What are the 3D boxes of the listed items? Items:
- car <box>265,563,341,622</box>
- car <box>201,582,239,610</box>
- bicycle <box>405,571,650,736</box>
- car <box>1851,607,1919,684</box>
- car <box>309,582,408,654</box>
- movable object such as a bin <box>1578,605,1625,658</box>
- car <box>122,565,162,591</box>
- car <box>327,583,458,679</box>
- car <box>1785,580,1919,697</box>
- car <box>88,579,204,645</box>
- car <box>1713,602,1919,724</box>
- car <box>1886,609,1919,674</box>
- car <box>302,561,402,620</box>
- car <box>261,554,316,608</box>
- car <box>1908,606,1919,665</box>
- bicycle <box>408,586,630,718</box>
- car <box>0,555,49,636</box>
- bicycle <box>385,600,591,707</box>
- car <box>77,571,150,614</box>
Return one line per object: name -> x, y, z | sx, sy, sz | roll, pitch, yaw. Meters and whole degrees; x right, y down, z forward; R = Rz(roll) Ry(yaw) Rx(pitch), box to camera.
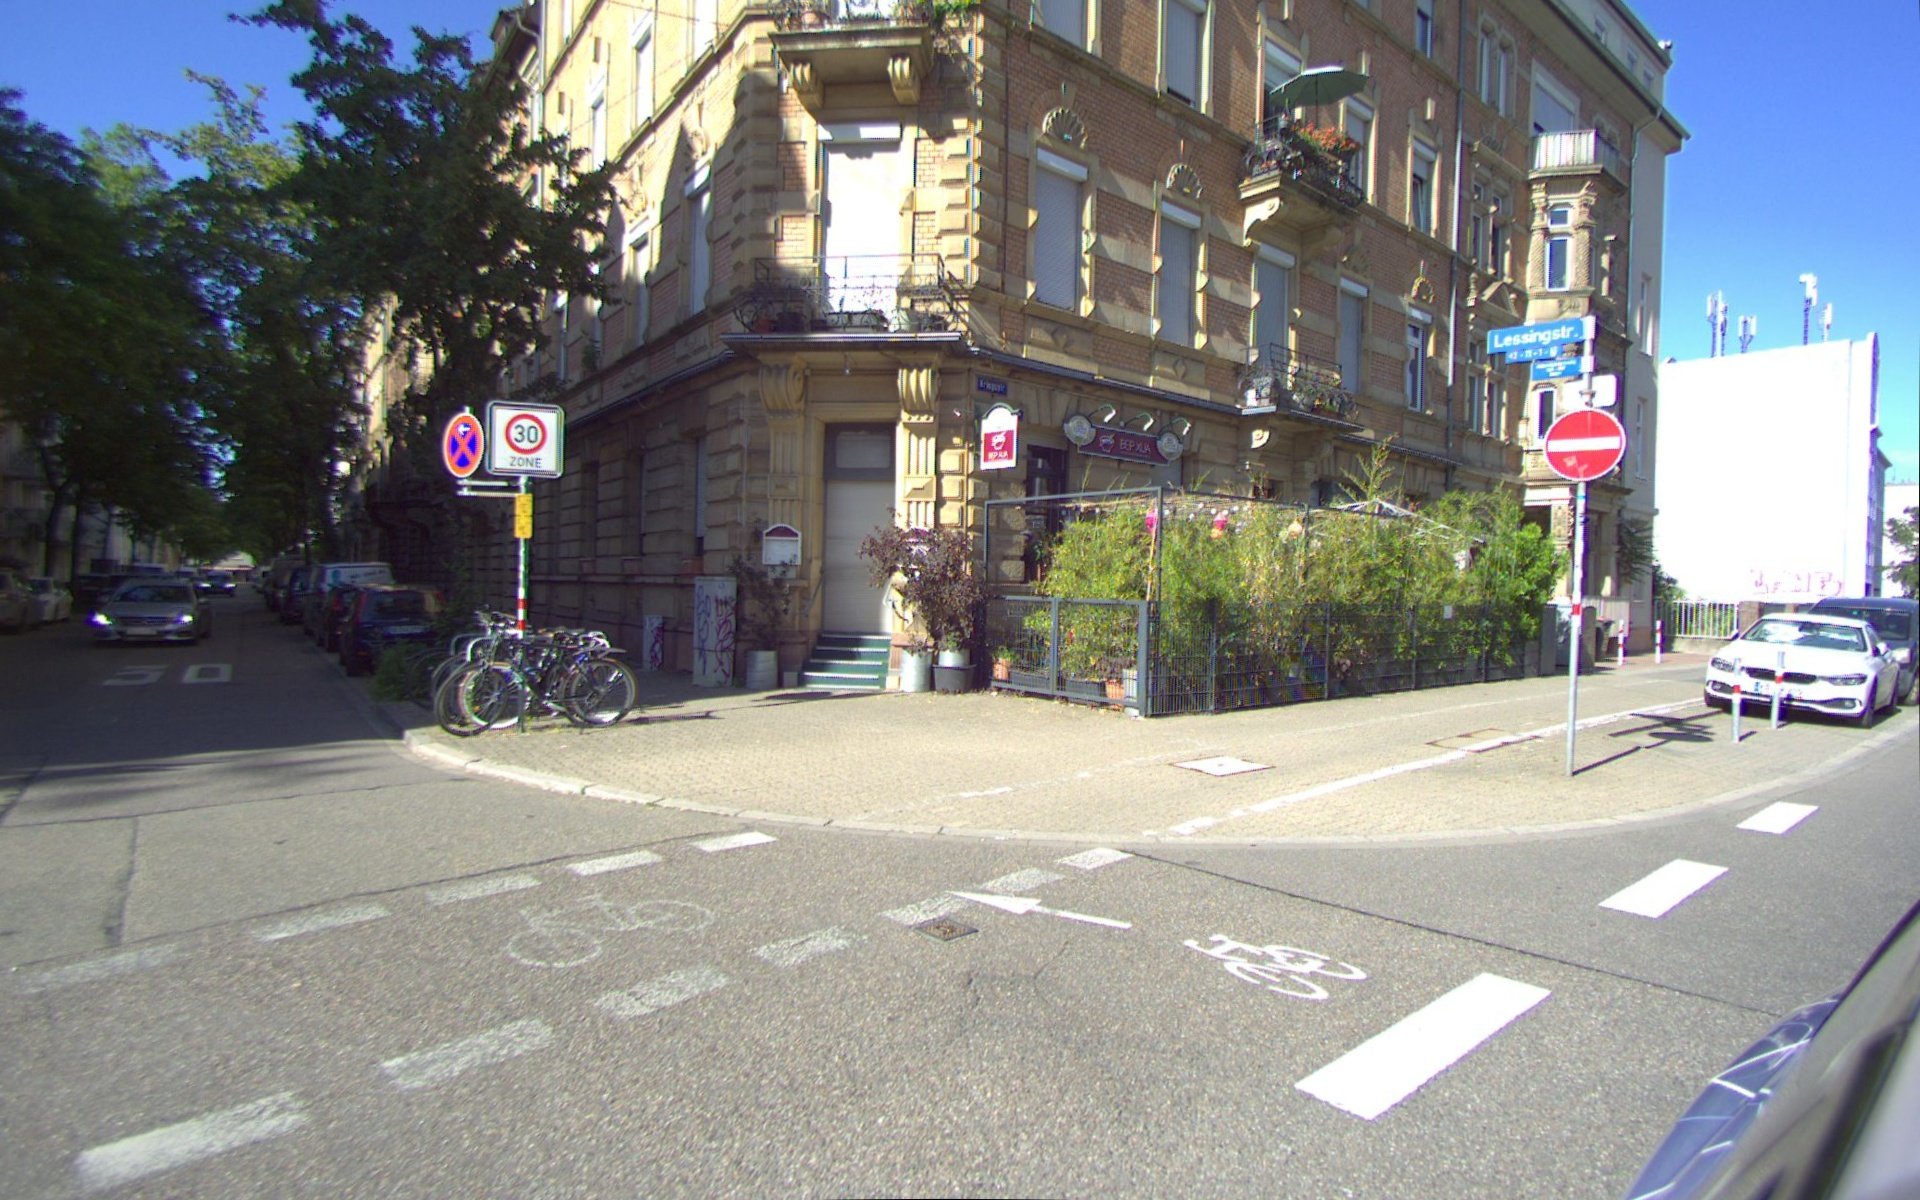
car -> -22.917, -0.282, 35.260 | 2.060, 1.889, 4.835 | -1, 1, -34
car -> -54.433, -0.338, 74.537 | 2.060, 1.968, 4.835 | -1, 1, -34
bicycle -> -4.026, 0.457, 9.549 | 2.031, 1.415, 0.579 | 1, 0, -40
car -> 20.196, 0.911, 21.186 | 4.197, 1.486, 1.671 | 1, -1, -39
car -> -13.385, 0.337, 22.454 | 1.685, 1.451, 3.407 | -1, 1, -34
movable object such as a bin -> 14.850, 0.720, 23.441 | 0.598, 1.171, 0.760 | -3, 2, -40
car -> -56.307, -1.517, 69.739 | 1.726, 1.686, 4.001 | -3, 2, -33
car -> -9.802, 0.452, 17.381 | 1.685, 1.451, 3.407 | -1, 1, -34
car -> 16.634, 0.641, 18.313 | 4.285, 1.867, 1.823 | 1, 1, -39
car -> -18.870, 0.236, 23.516 | 1.964, 1.396, 3.996 | 0, 0, -39
car -> 12.566, 0.818, 14.672 | 4.131, 1.443, 1.713 | 1, 2, -40
car -> 23.517, 0.989, 24.315 | 3.242, 1.489, 1.623 | 2, -1, -43
car -> -16.417, -0.262, 27.204 | 2.060, 1.451, 4.835 | -1, 1, -34
car -> -31.627, -0.863, 47.681 | 2.060, 2.406, 4.835 | -1, 1, -34
car -> 27.370, 0.988, 27.595 | 4.408, 1.538, 1.937 | 1, 1, -43
bicycle -> -4.546, 0.501, 10.544 | 2.031, 1.251, 0.579 | 0, 0, -40
car -> -24.890, -0.128, 25.914 | 1.725, 1.985, 4.001 | 0, 0, -34
bicycle -> -5.311, 0.569, 11.477 | 2.031, 1.108, 0.579 | 0, 0, -40
car -> -33.607, -0.305, 40.264 | 1.726, 1.545, 4.001 | -3, 2, -33
